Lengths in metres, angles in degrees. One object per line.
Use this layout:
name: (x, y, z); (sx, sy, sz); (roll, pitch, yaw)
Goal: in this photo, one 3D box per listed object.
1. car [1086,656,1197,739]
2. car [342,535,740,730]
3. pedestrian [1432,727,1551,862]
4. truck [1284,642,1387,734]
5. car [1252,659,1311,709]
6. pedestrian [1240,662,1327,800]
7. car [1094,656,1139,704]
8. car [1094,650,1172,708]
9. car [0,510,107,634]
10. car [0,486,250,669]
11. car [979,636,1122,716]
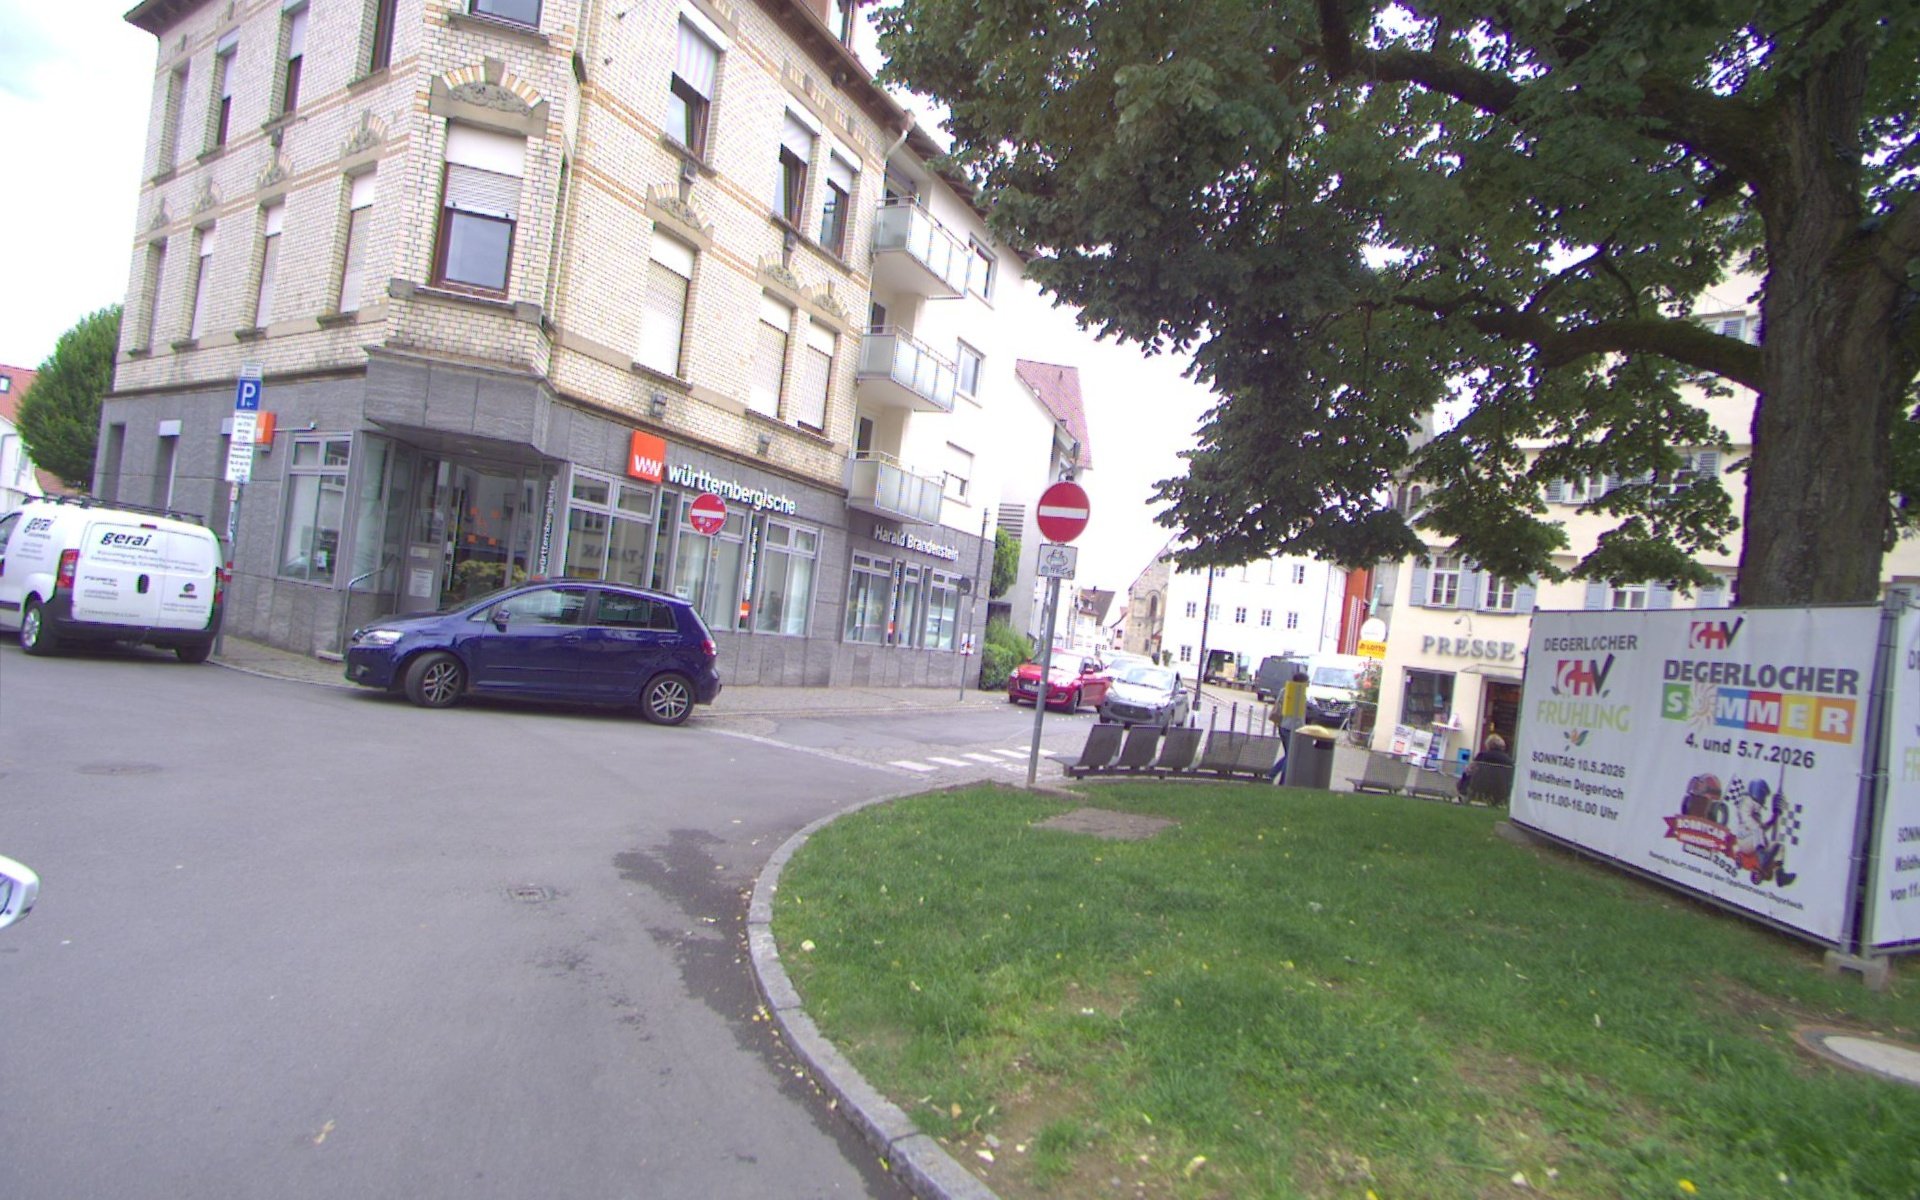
car: (4.374, 2.235, 23.772); (1.750, 1.533, 4.009); (8, -1, 21)
car: (-4.923, 0.446, 12.029); (3.980, 1.723, 1.849); (9, -3, -30)
pedestrian: (6.512, 2.358, 12.385); (0.956, 1.396, 0.858); (7, -1, 14)
truck: (13.588, 3.169, 36.169); (2.791, 2.722, 5.295); (7, -2, 25)
car: (16.746, 4.353, 52.236); (2.040, 2.237, 3.997); (8, -1, 28)
pedestrian: (4.516, 1.816, 14.037); (0.783, 1.765, 0.710); (7, -1, 35)
car: (8.138, 4.063, 51.987); (1.949, 2.038, 4.367); (8, -1, 11)
car: (6.057, 2.656, 34.695); (2.214, 1.529, 4.527); (8, -1, 13)
car: (-14.986, -0.576, 15.221); (4.468, 1.619, 1.791); (5, -2, 32)
car: (-10.976, -0.349, 12.510); (4.148, 1.813, 1.829); (6, -2, 31)
car: (2.391, 1.973, 25.378); (2.086, 1.564, 4.385); (8, -3, 25)
